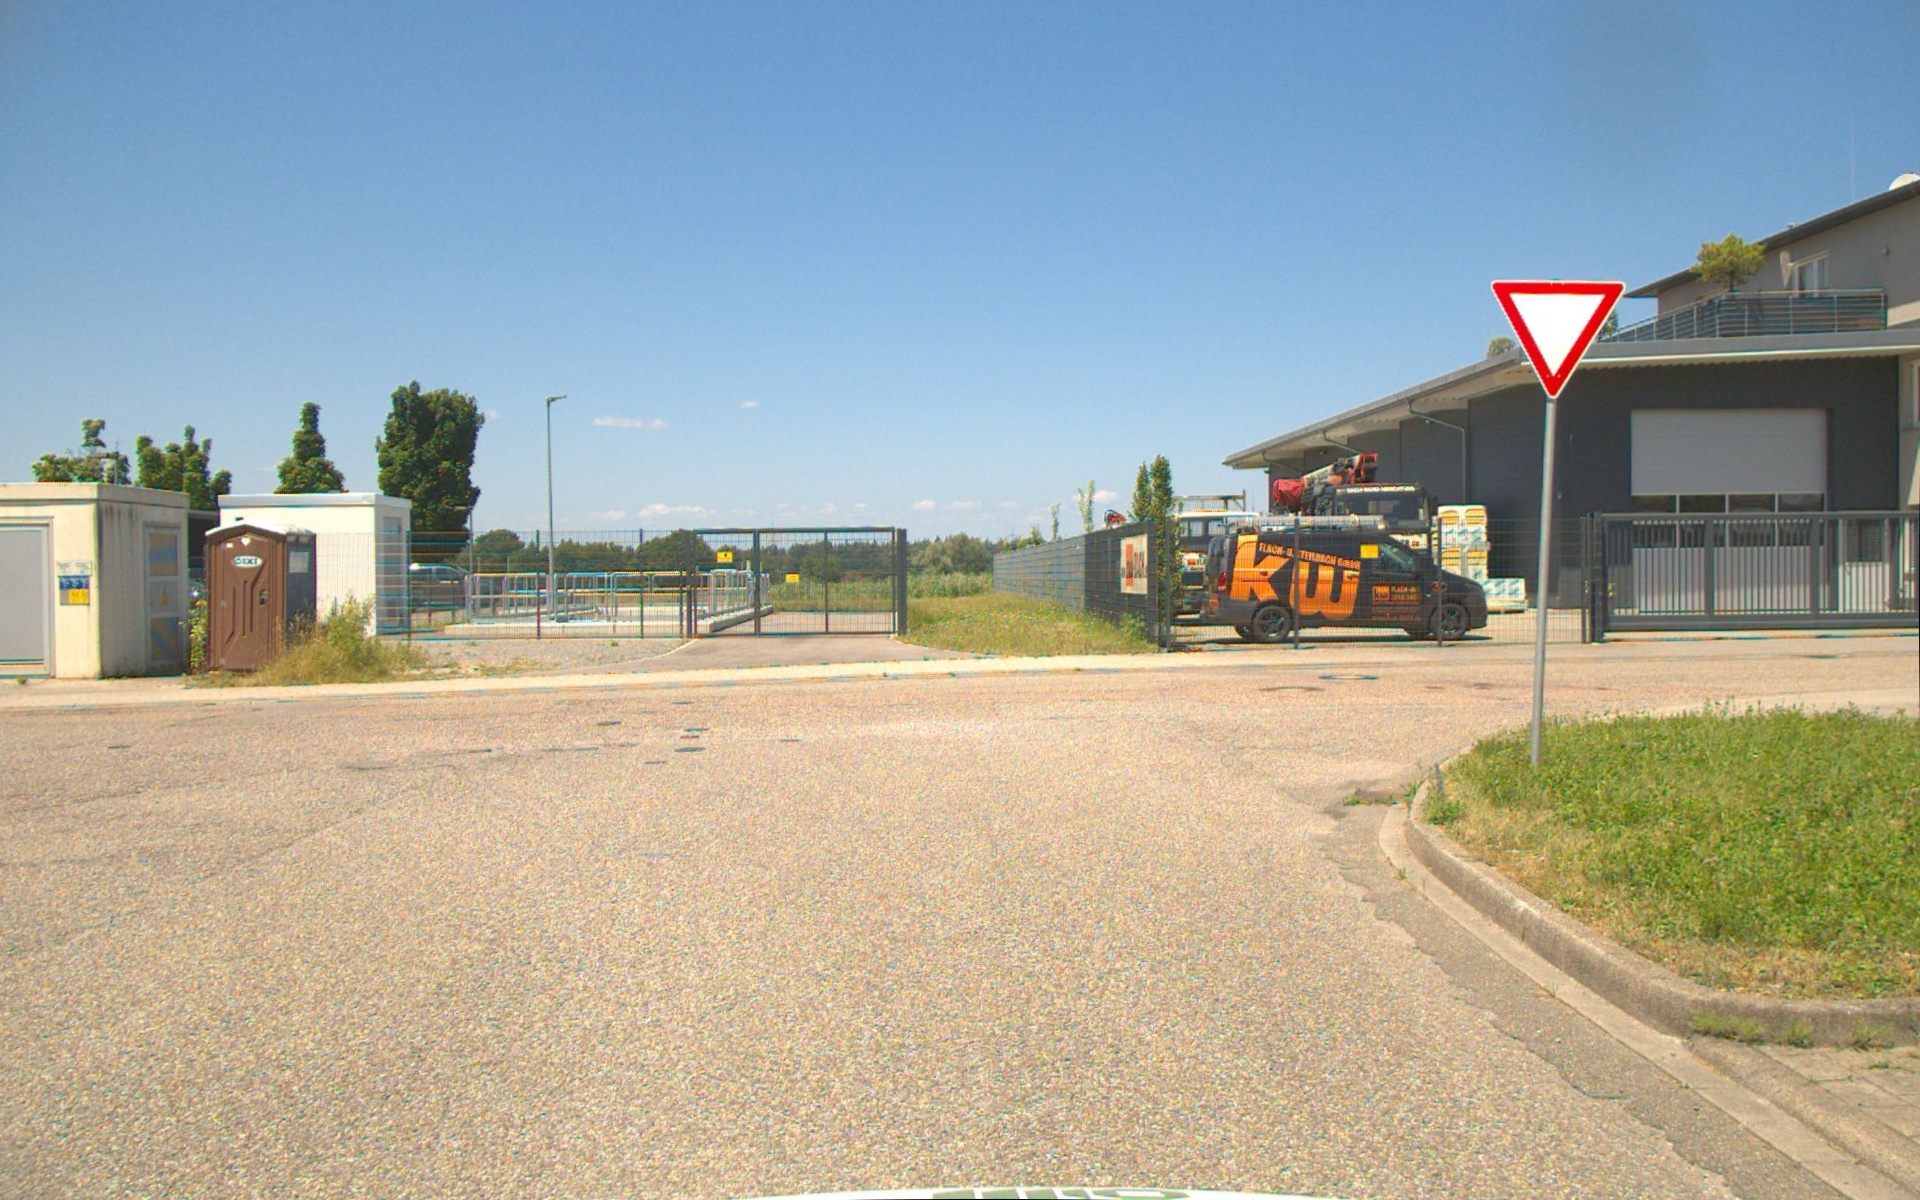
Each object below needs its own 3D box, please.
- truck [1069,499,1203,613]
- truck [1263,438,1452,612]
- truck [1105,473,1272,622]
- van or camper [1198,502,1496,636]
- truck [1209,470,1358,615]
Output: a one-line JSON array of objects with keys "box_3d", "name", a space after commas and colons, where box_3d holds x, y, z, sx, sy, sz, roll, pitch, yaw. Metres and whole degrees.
[{"box_3d": [4.947, -1.239, 47.814, 2.862, 2.989, 6.934, -1, 1, -2], "name": "truck"}, {"box_3d": [9.873, -1.803, 41.850, 2.862, 3.997, 6.934, -1, 1, -2], "name": "truck"}, {"box_3d": [5.170, -1.188, 38.657, 2.672, 3.115, 6.934, -1, 1, -2], "name": "truck"}, {"box_3d": [6.862, -0.572, 29.638, 4.837, 2.201, 2.000, -1, 2, -2], "name": "van or camper"}, {"box_3d": [9.602, -1.685, 49.887, 2.862, 3.997, 6.934, -1, 1, -2], "name": "truck"}]
